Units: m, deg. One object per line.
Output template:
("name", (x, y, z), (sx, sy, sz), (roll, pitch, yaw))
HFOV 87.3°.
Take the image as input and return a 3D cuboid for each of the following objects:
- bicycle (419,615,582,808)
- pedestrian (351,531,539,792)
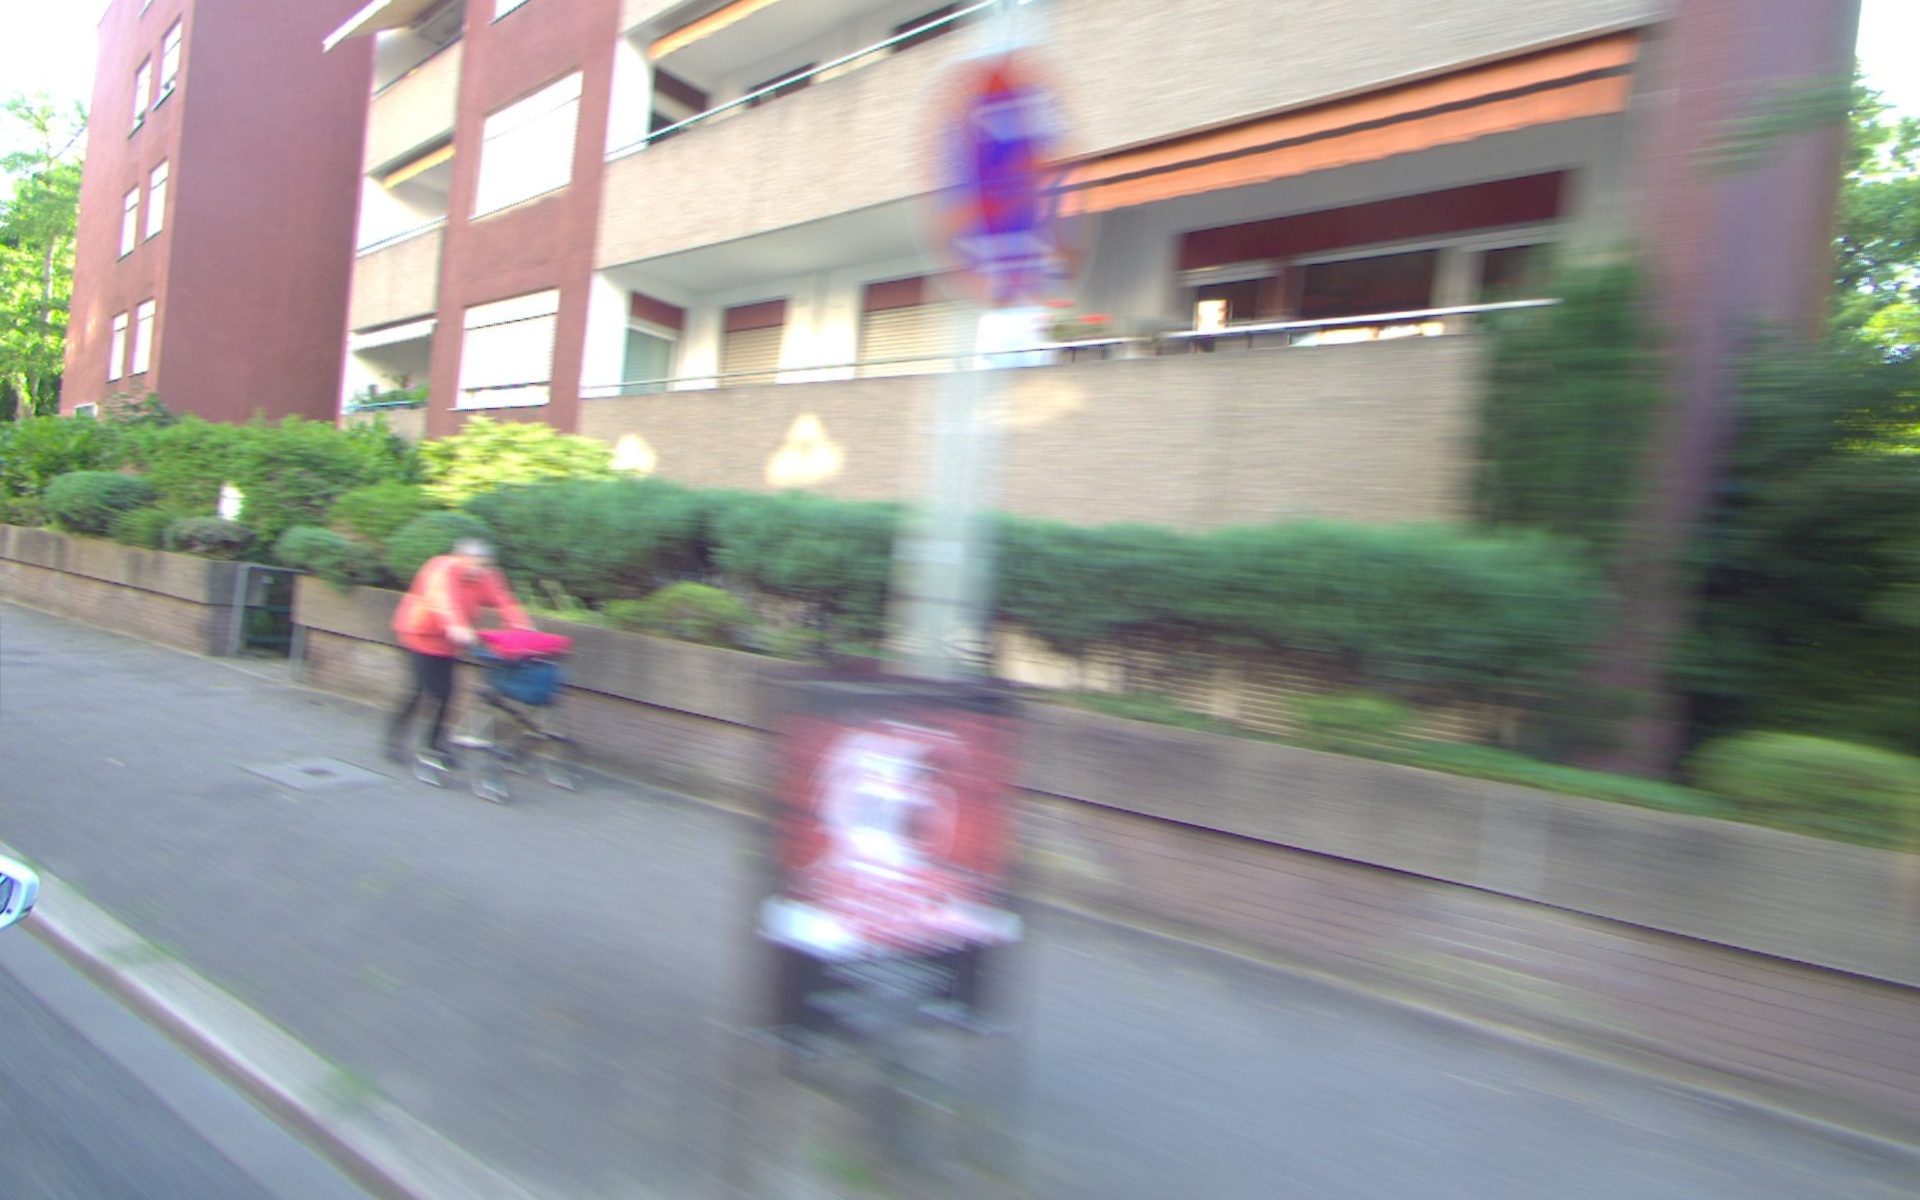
("bicycle", (-2.620, 0.624, 5.758), (0.484, 0.982, 0.567), (8, 1, 29))
("pedestrian", (-3.094, 0.360, 6.061), (0.657, 1.420, 0.598), (8, 1, 30))
